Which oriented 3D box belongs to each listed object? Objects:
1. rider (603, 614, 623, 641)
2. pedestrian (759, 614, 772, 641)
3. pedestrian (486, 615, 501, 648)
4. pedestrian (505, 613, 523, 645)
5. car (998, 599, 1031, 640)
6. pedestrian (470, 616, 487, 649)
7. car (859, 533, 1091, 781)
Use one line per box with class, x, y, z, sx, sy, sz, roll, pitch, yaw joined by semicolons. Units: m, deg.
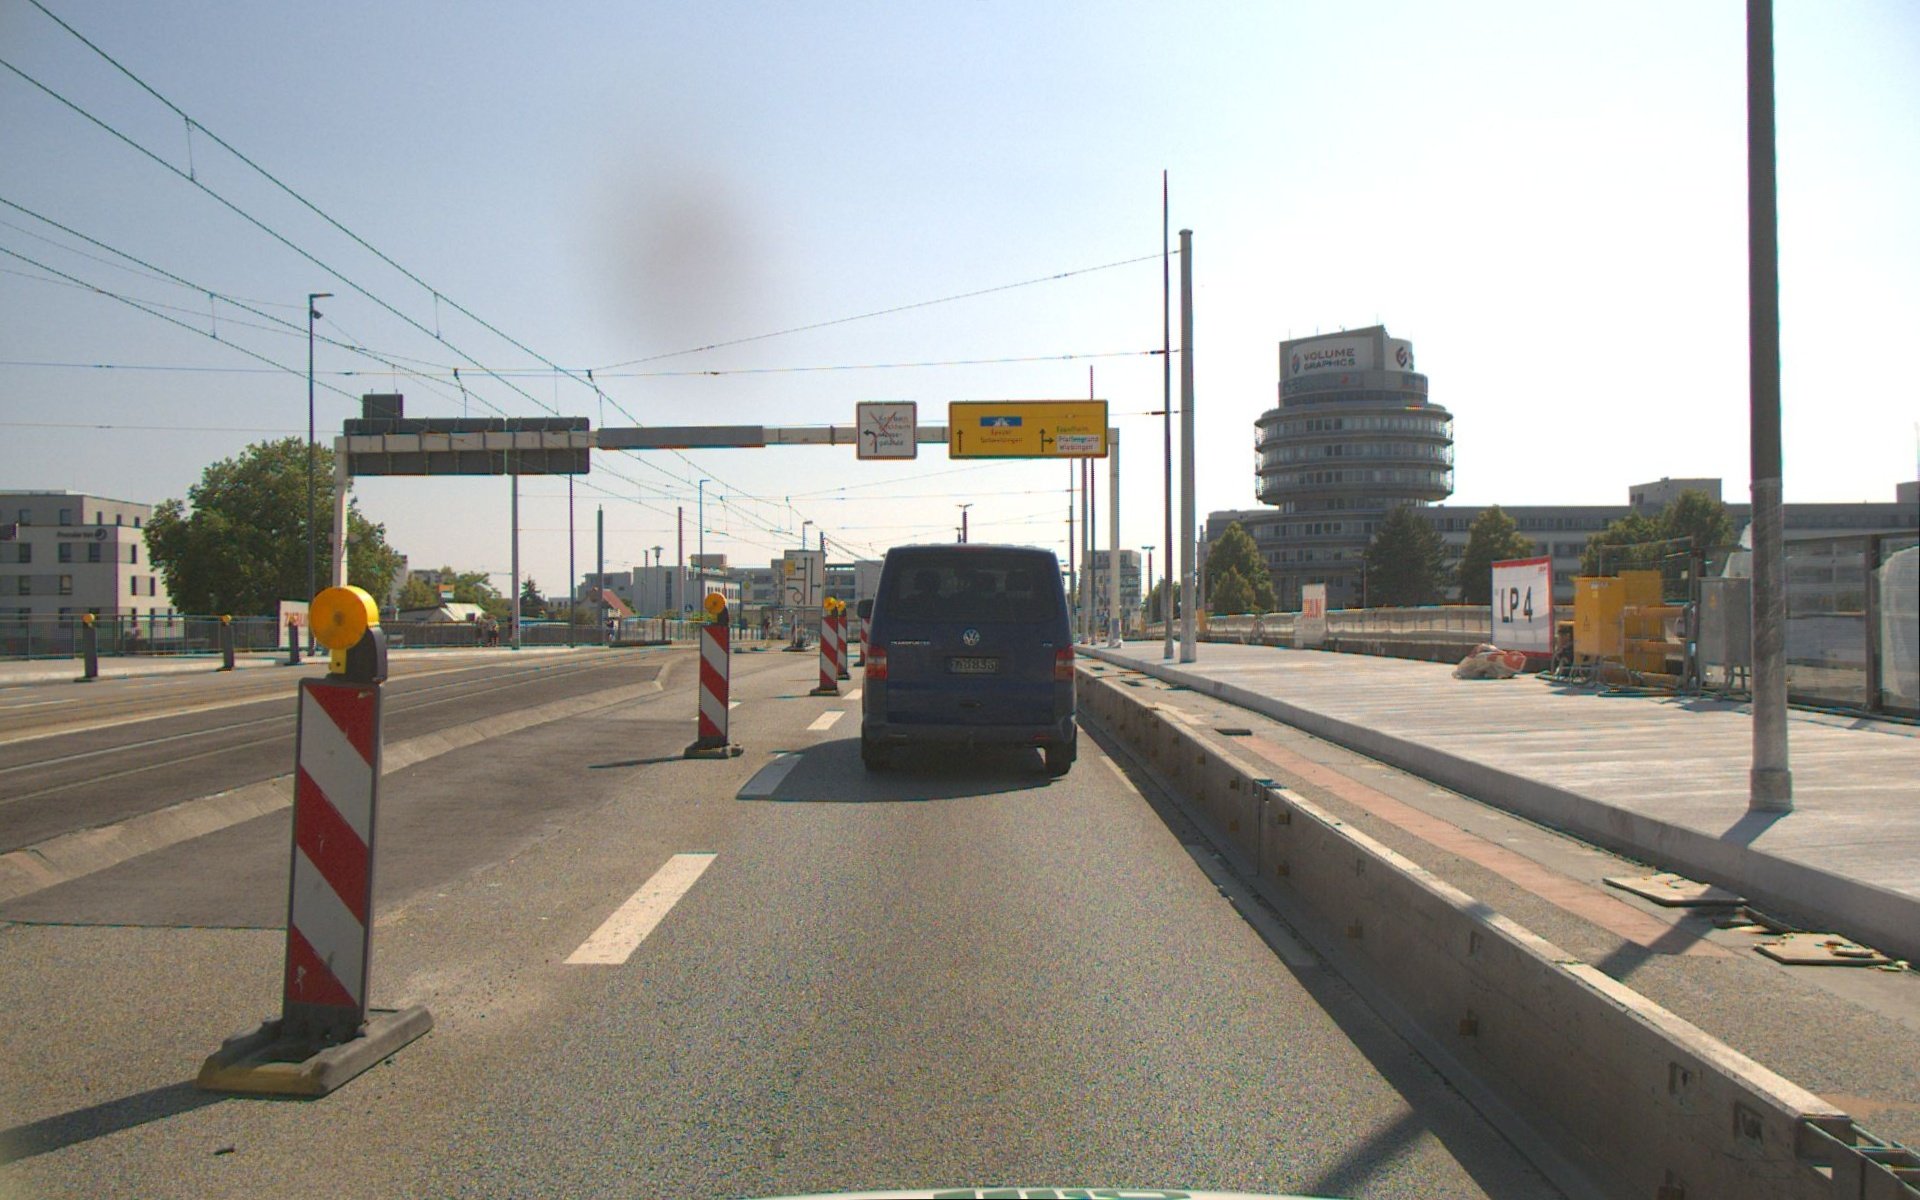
rider;-22.556;1.775;107.501;0.748;1.763;2.951;0;0;-1
pedestrian;-12.373;1.741;105.256;0.646;1.683;0.740;-1;-1;14
pedestrian;-24.671;1.675;87.461;0.476;1.717;0.808;-1;-1;3
pedestrian;-24.236;1.596;89.849;0.737;1.717;0.732;-1;-1;3
car;3.992;1.399;122.160;2.290;2.937;5.970;1;0;1
pedestrian;-25.323;1.693;86.969;0.585;1.717;0.818;-1;-1;3
car;0.103;0.480;15.398;1.849;1.968;3.999;1;-1;-1
